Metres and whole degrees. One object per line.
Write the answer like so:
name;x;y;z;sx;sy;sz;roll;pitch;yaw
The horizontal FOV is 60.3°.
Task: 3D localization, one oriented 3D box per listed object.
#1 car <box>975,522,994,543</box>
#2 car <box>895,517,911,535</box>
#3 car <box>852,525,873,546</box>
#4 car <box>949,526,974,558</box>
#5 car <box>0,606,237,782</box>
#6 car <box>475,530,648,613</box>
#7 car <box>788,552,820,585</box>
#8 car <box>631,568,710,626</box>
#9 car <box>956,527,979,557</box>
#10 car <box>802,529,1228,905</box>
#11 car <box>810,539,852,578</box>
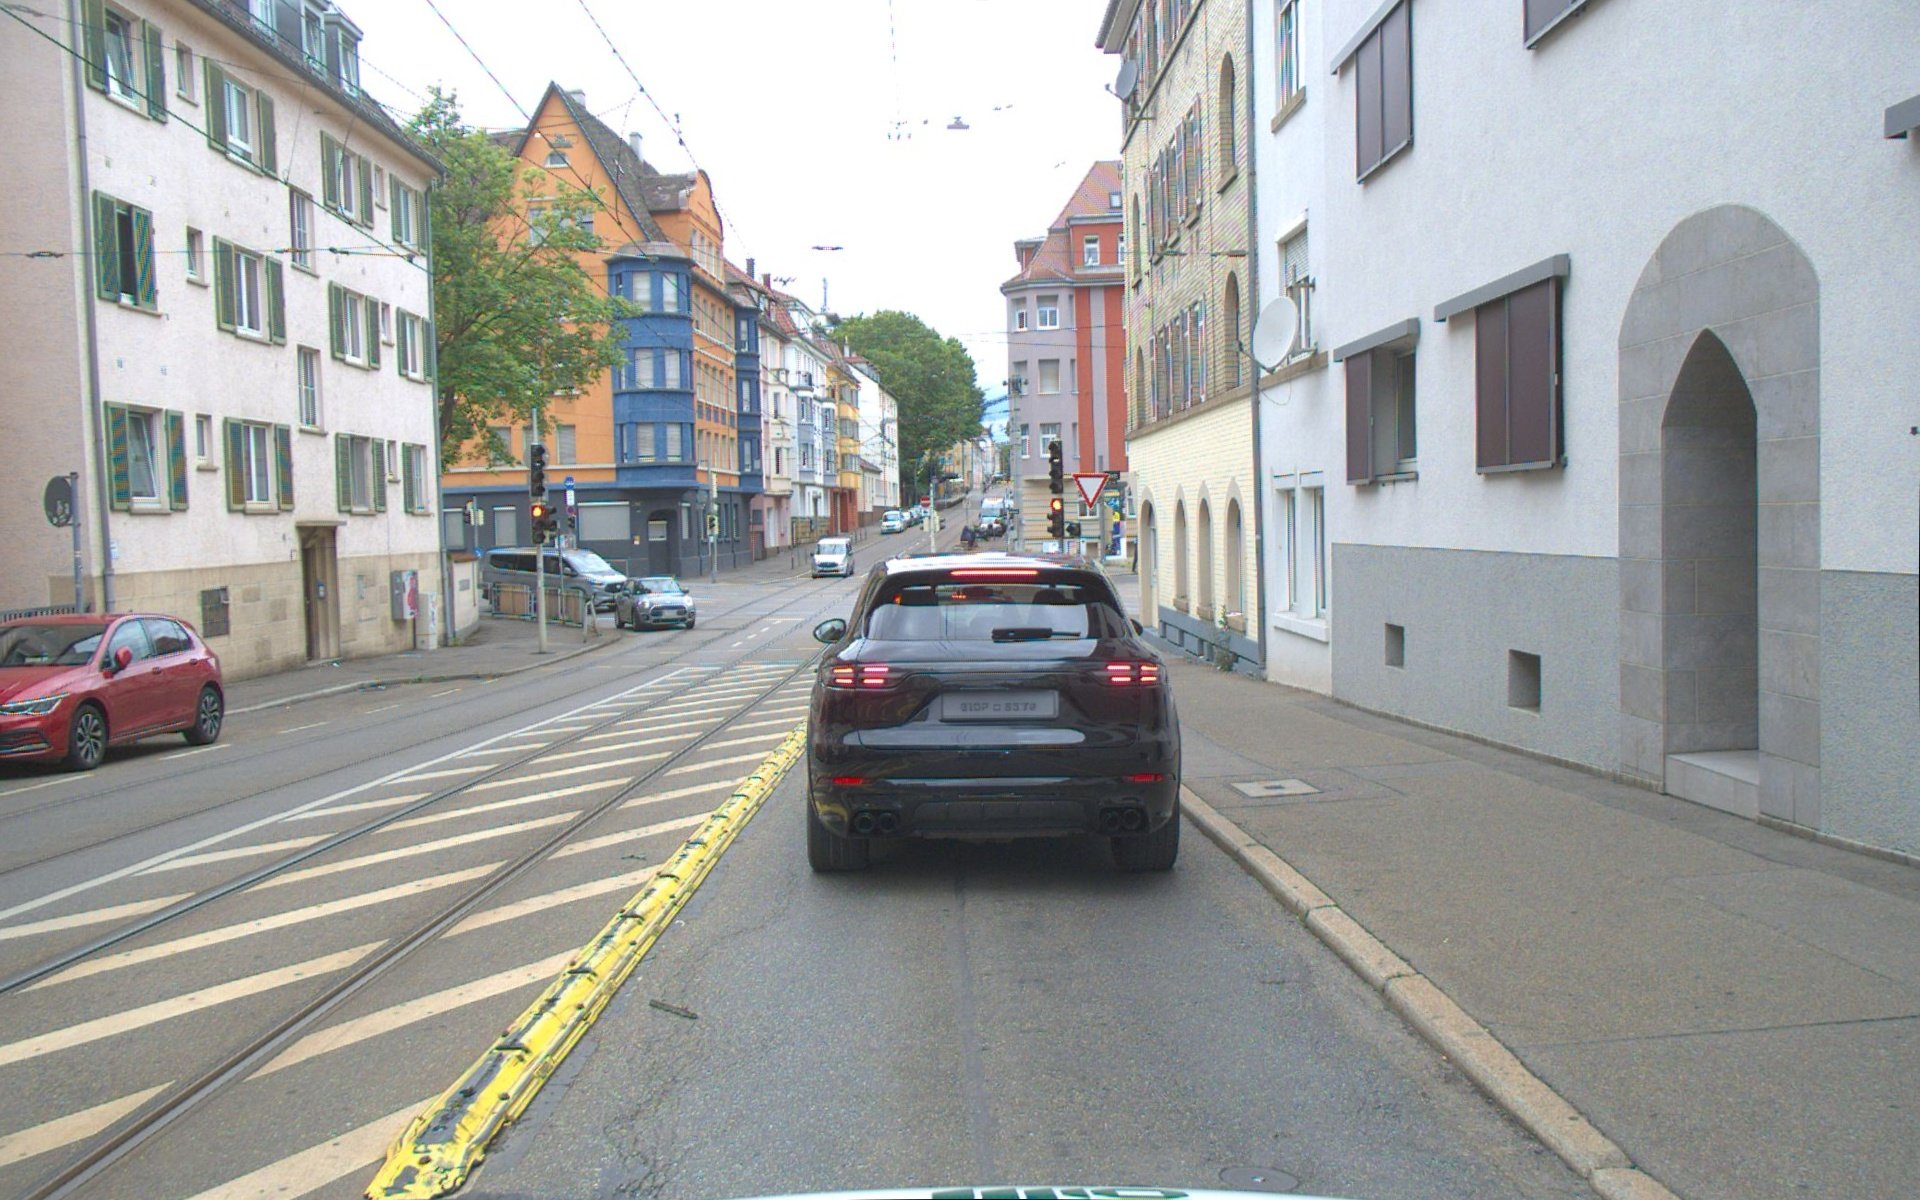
car;1.916;-5.275;128.955;1.366;1.476;3.358;-1;0;0
car;-5.339;-6.907;154.600;1.366;1.476;3.358;-1;0;0
car;-7.463;-4.896;126.523;1.366;1.476;3.358;-1;0;0
car;0.087;-3.398;96.890;1.366;1.752;3.358;-1;0;0
car;-8.852;0.856;16.488;1.588;1.516;4.045;-2;0;-2
car;-13.359;-0.933;55.469;5.181;2.279;2.000;0;-15;23
car;-8.504;-1.695;90.401;1.366;1.752;3.358;-1;0;0
car;-8.059;-0.095;46.293;1.600;1.534;3.540;-1;0;-1
car;0.472;-3.630;103.853;1.366;1.752;3.358;-1;0;0
car;0.217;0.527;9.732;1.953;1.705;3.999;-1;0;-1
car;-6.303;-2.019;81.350;1.715;1.790;4.253;-1;0;0
